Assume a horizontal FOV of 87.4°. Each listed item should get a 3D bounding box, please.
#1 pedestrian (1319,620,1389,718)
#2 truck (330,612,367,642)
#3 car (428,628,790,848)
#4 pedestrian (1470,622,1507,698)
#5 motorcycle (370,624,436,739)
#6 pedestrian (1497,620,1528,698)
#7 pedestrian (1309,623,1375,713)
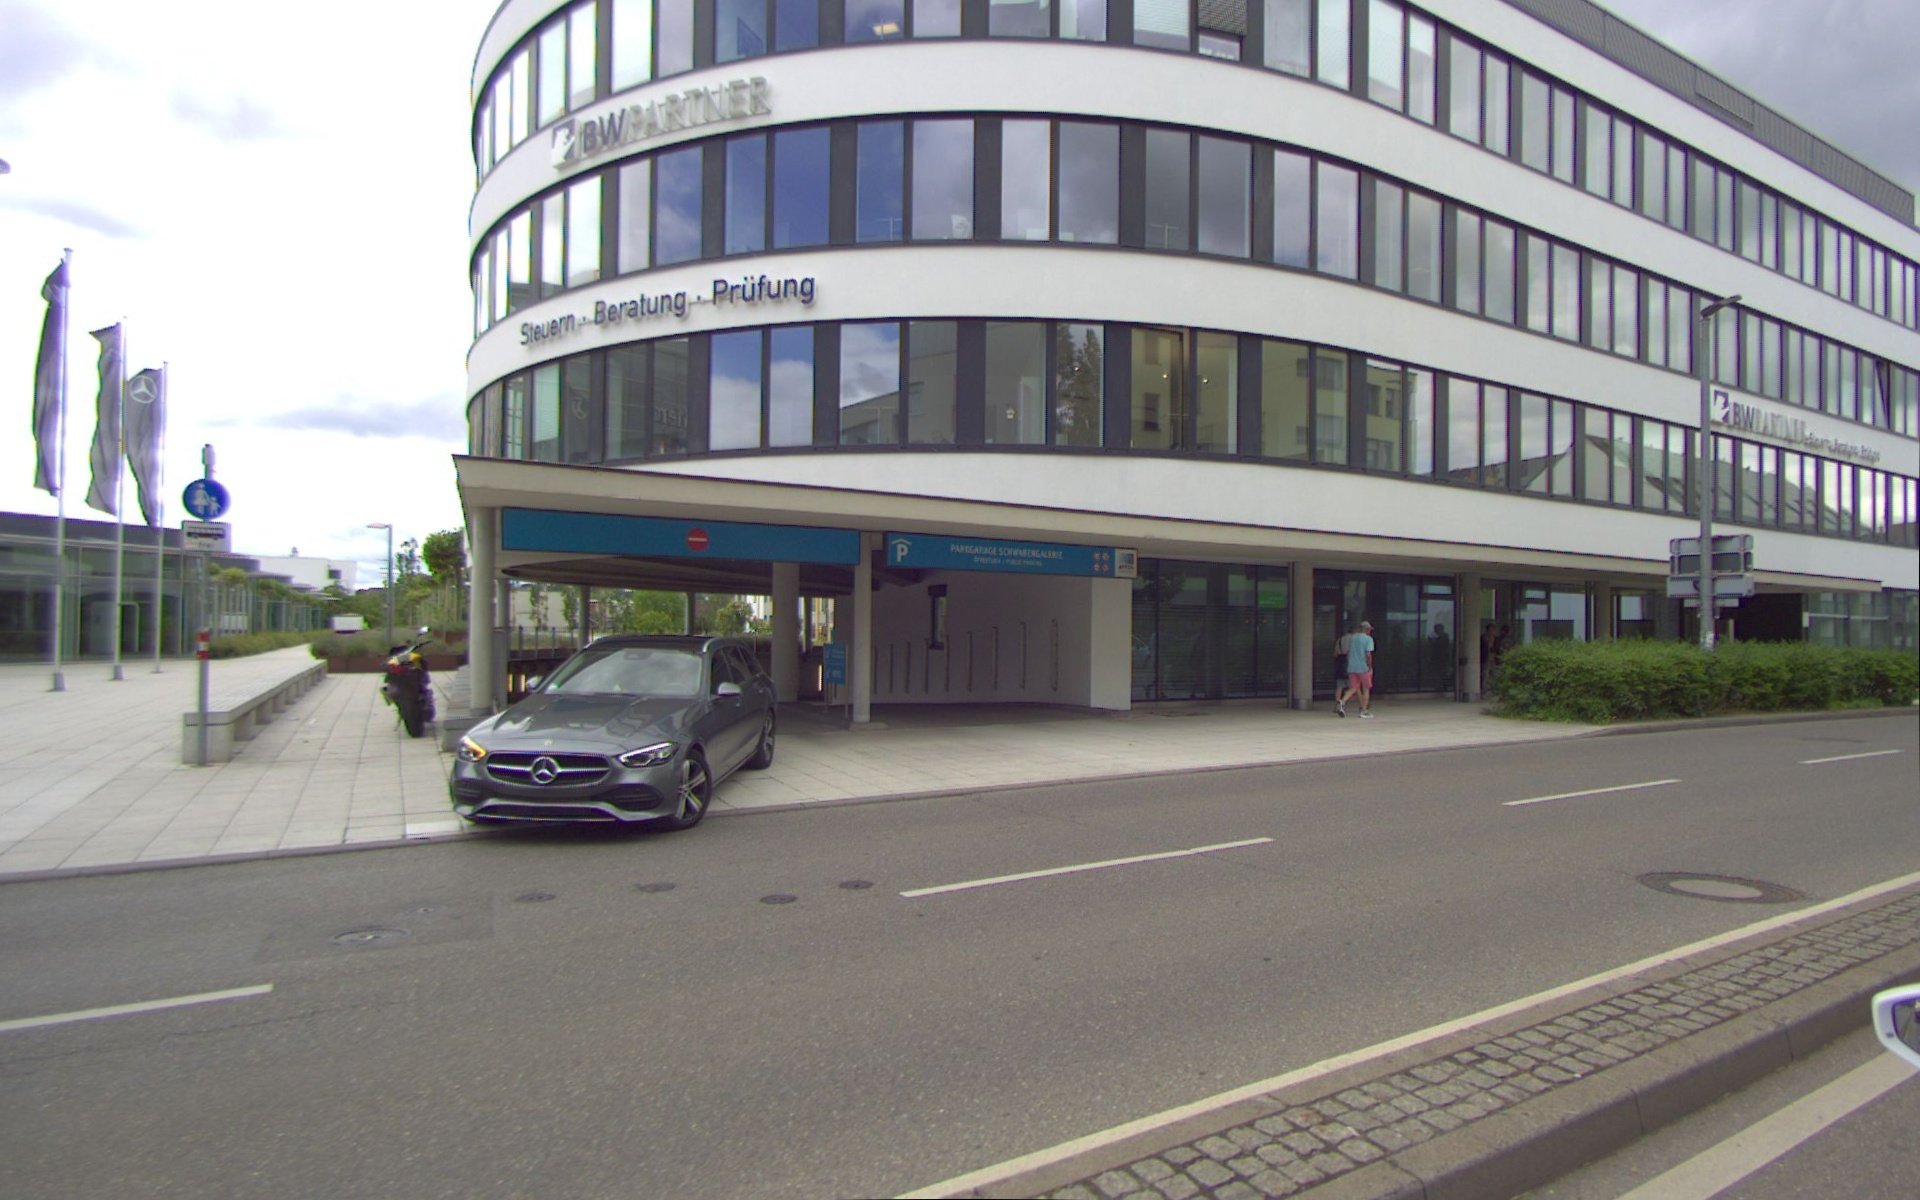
[{"bbox_3d":[7.082,1.224,18.068,0.919,1.696,0.727,1,0,-28],"label":"pedestrian"},{"bbox_3d":[-51.967,2.250,85.306,2.364,2.312,6.376,1,0,-34],"label":"truck"},{"bbox_3d":[-2.906,1.062,9.476,1.865,1.434,4.470,1,0,-1],"label":"car"},{"bbox_3d":[12.374,1.402,23.536,0.603,1.752,0.506,0,-2,1],"label":"pedestrian"},{"bbox_3d":[-7.326,1.027,13.275,0.627,1.350,1.848,1,0,-26],"label":"motorcycle"},{"bbox_3d":[12.435,1.325,22.612,0.604,1.732,0.505,-1,-2,30],"label":"pedestrian"},{"bbox_3d":[7.248,1.271,19.059,0.919,1.634,0.727,1,0,-28],"label":"pedestrian"}]
